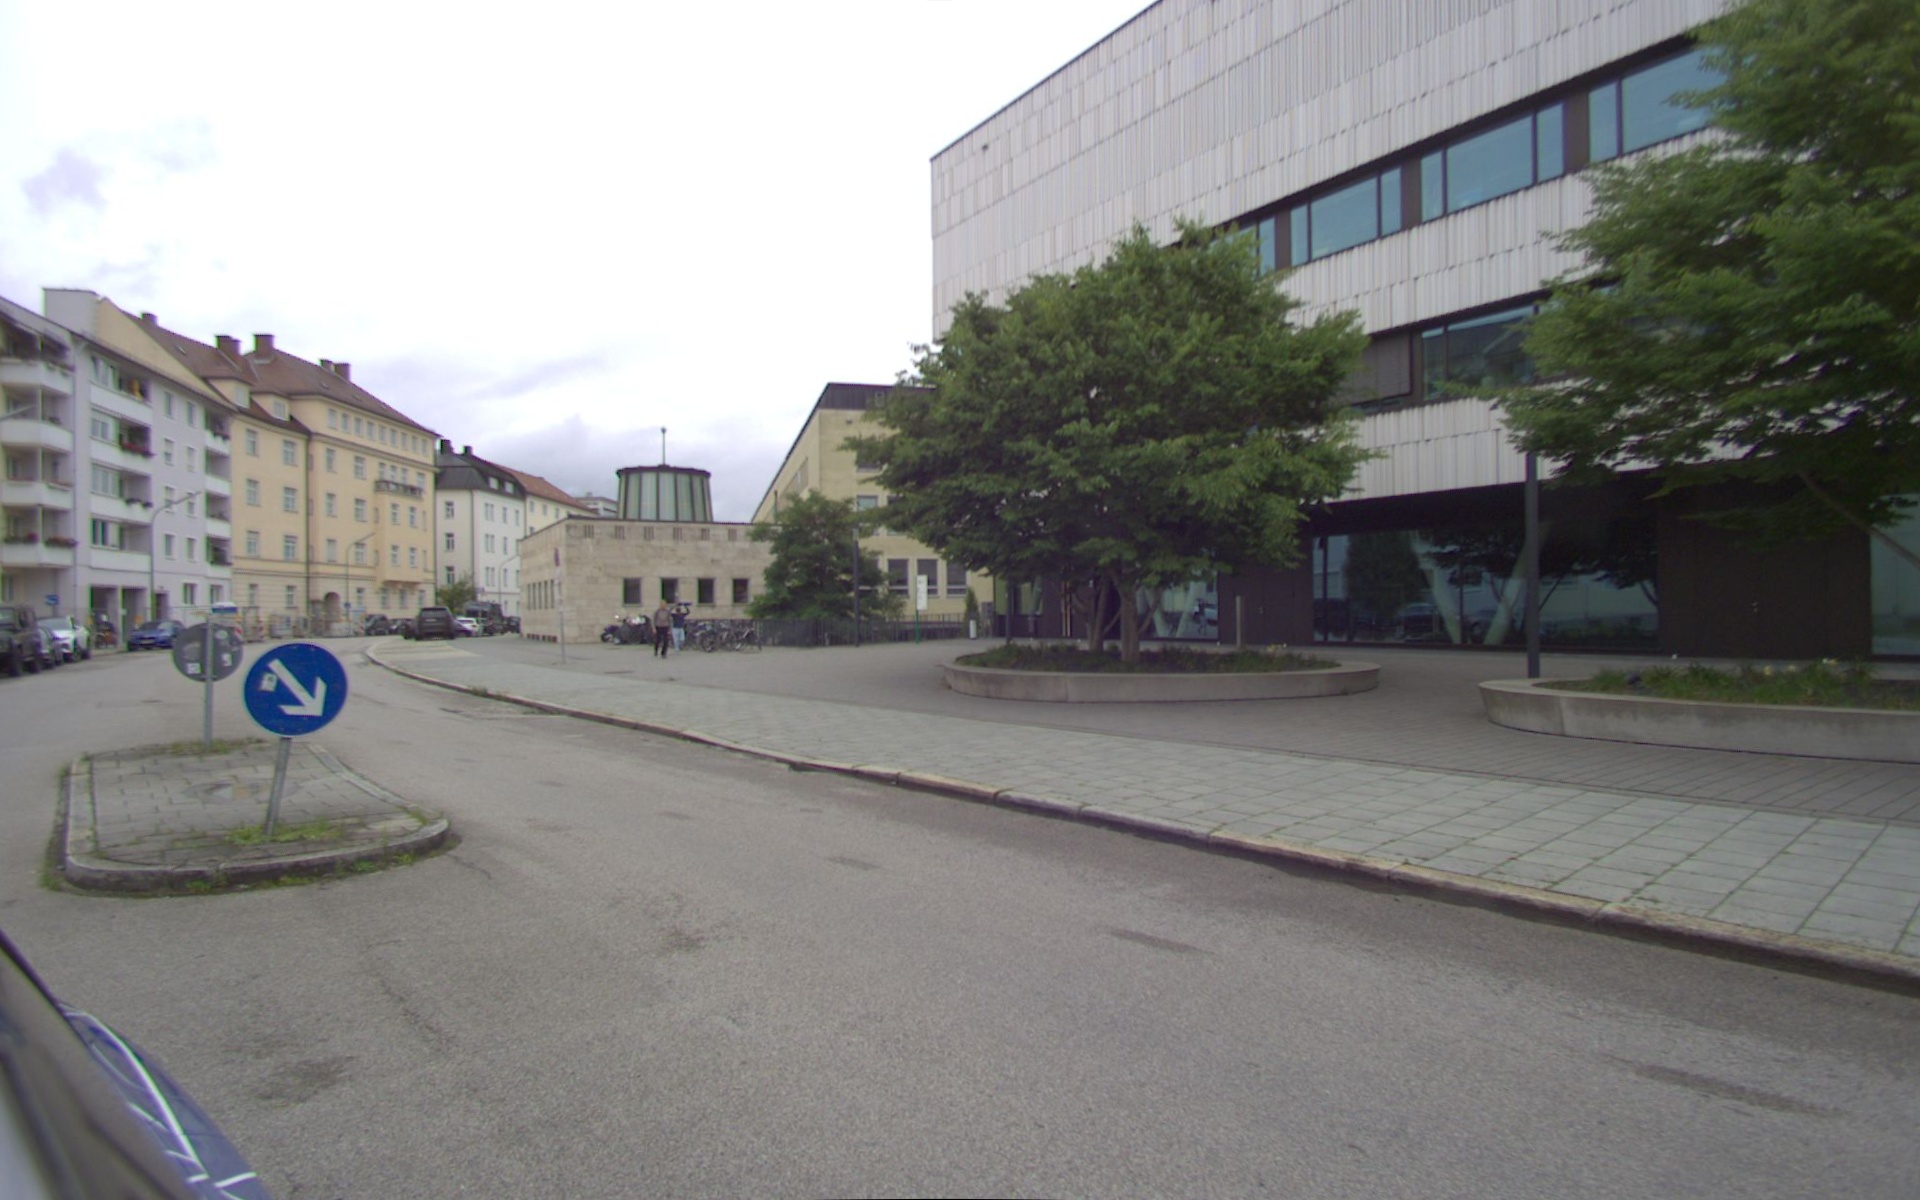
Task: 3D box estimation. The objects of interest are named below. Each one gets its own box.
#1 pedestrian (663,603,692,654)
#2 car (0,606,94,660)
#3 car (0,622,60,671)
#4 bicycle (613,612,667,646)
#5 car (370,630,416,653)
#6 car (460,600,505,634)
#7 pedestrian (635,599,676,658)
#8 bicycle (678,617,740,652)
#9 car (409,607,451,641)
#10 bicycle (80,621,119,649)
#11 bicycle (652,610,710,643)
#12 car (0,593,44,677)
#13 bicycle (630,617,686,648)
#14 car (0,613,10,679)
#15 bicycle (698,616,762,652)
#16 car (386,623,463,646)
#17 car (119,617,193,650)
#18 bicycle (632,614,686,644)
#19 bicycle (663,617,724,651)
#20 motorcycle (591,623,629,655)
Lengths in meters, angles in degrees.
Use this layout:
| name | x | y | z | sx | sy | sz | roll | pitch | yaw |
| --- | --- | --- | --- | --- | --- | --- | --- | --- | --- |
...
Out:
| name | x | y | z | sx | sy | sz | roll | pitch | yaw |
| --- | --- | --- | --- | --- | --- | --- | --- | --- | --- |
| pedestrian | -9.299 | 0.938 | 33.304 | 0.604 | 1.613 | 0.638 | -3 | -1 | 30 |
| car | -31.656 | 1.157 | 35.094 | 1.999 | 1.690 | 4.624 | -2 | -1 | -35 |
| car | -28.850 | 1.393 | 31.018 | 1.637 | 1.359 | 3.812 | -2 | 1 | -38 |
| bicycle | -13.834 | 1.241 | 43.774 | 2.070 | 1.362 | 0.615 | -2 | -1 | -36 |
| car | -47.866 | 3.491 | 85.498 | 1.816 | 1.743 | 3.731 | -3 | -1 | -1 |
| car | -37.718 | 1.387 | 80.083 | 2.115 | 2.594 | 6.228 | 1 | -1 | -14 |
| pedestrian | -9.486 | 0.873 | 31.486 | 1.015 | 1.796 | 0.777 | -1 | 1 | 44 |
| bicycle | -8.849 | 1.195 | 35.736 | 2.019 | 1.119 | 0.618 | -2 | -1 | -39 |
| car | -29.569 | 1.368 | 56.555 | 1.965 | 1.785 | 4.830 | -1 | -2 | -27 |
| bicycle | -41.271 | 1.664 | 48.563 | 0.798 | 1.333 | 2.784 | 1 | -1 | -28 |
| bicycle | -10.466 | 0.984 | 38.026 | 2.021 | 1.119 | 0.617 | -2 | -1 | -42 |
| car | -26.028 | 0.993 | 26.992 | 1.724 | 2.097 | 4.527 | -2 | -1 | -35 |
| bicycle | -12.168 | 1.297 | 40.801 | 2.017 | 1.119 | 0.618 | -2 | -1 | -32 |
| car | -23.126 | 1.117 | 22.916 | 1.636 | 1.577 | 4.526 | -2 | 0 | -34 |
| bicycle | -7.860 | 1.150 | 34.602 | 2.019 | 1.119 | 0.618 | -2 | -1 | -39 |
| car | -34.217 | 2.198 | 64.726 | 1.746 | 1.384 | 3.957 | 1 | -2 | 36 |
| car | -38.583 | 1.595 | 48.674 | 1.805 | 1.453 | 4.643 | -2 | -1 | -26 |
| bicycle | -12.607 | 1.211 | 42.420 | 2.018 | 1.119 | 0.618 | -2 | -1 | -36 |
| bicycle | -9.727 | 1.234 | 36.974 | 2.019 | 1.119 | 0.618 | -2 | -1 | -39 |
| motorcycle | -16.362 | 1.820 | 47.375 | 1.543 | 1.416 | 0.516 | -2 | -1 | -34 |
